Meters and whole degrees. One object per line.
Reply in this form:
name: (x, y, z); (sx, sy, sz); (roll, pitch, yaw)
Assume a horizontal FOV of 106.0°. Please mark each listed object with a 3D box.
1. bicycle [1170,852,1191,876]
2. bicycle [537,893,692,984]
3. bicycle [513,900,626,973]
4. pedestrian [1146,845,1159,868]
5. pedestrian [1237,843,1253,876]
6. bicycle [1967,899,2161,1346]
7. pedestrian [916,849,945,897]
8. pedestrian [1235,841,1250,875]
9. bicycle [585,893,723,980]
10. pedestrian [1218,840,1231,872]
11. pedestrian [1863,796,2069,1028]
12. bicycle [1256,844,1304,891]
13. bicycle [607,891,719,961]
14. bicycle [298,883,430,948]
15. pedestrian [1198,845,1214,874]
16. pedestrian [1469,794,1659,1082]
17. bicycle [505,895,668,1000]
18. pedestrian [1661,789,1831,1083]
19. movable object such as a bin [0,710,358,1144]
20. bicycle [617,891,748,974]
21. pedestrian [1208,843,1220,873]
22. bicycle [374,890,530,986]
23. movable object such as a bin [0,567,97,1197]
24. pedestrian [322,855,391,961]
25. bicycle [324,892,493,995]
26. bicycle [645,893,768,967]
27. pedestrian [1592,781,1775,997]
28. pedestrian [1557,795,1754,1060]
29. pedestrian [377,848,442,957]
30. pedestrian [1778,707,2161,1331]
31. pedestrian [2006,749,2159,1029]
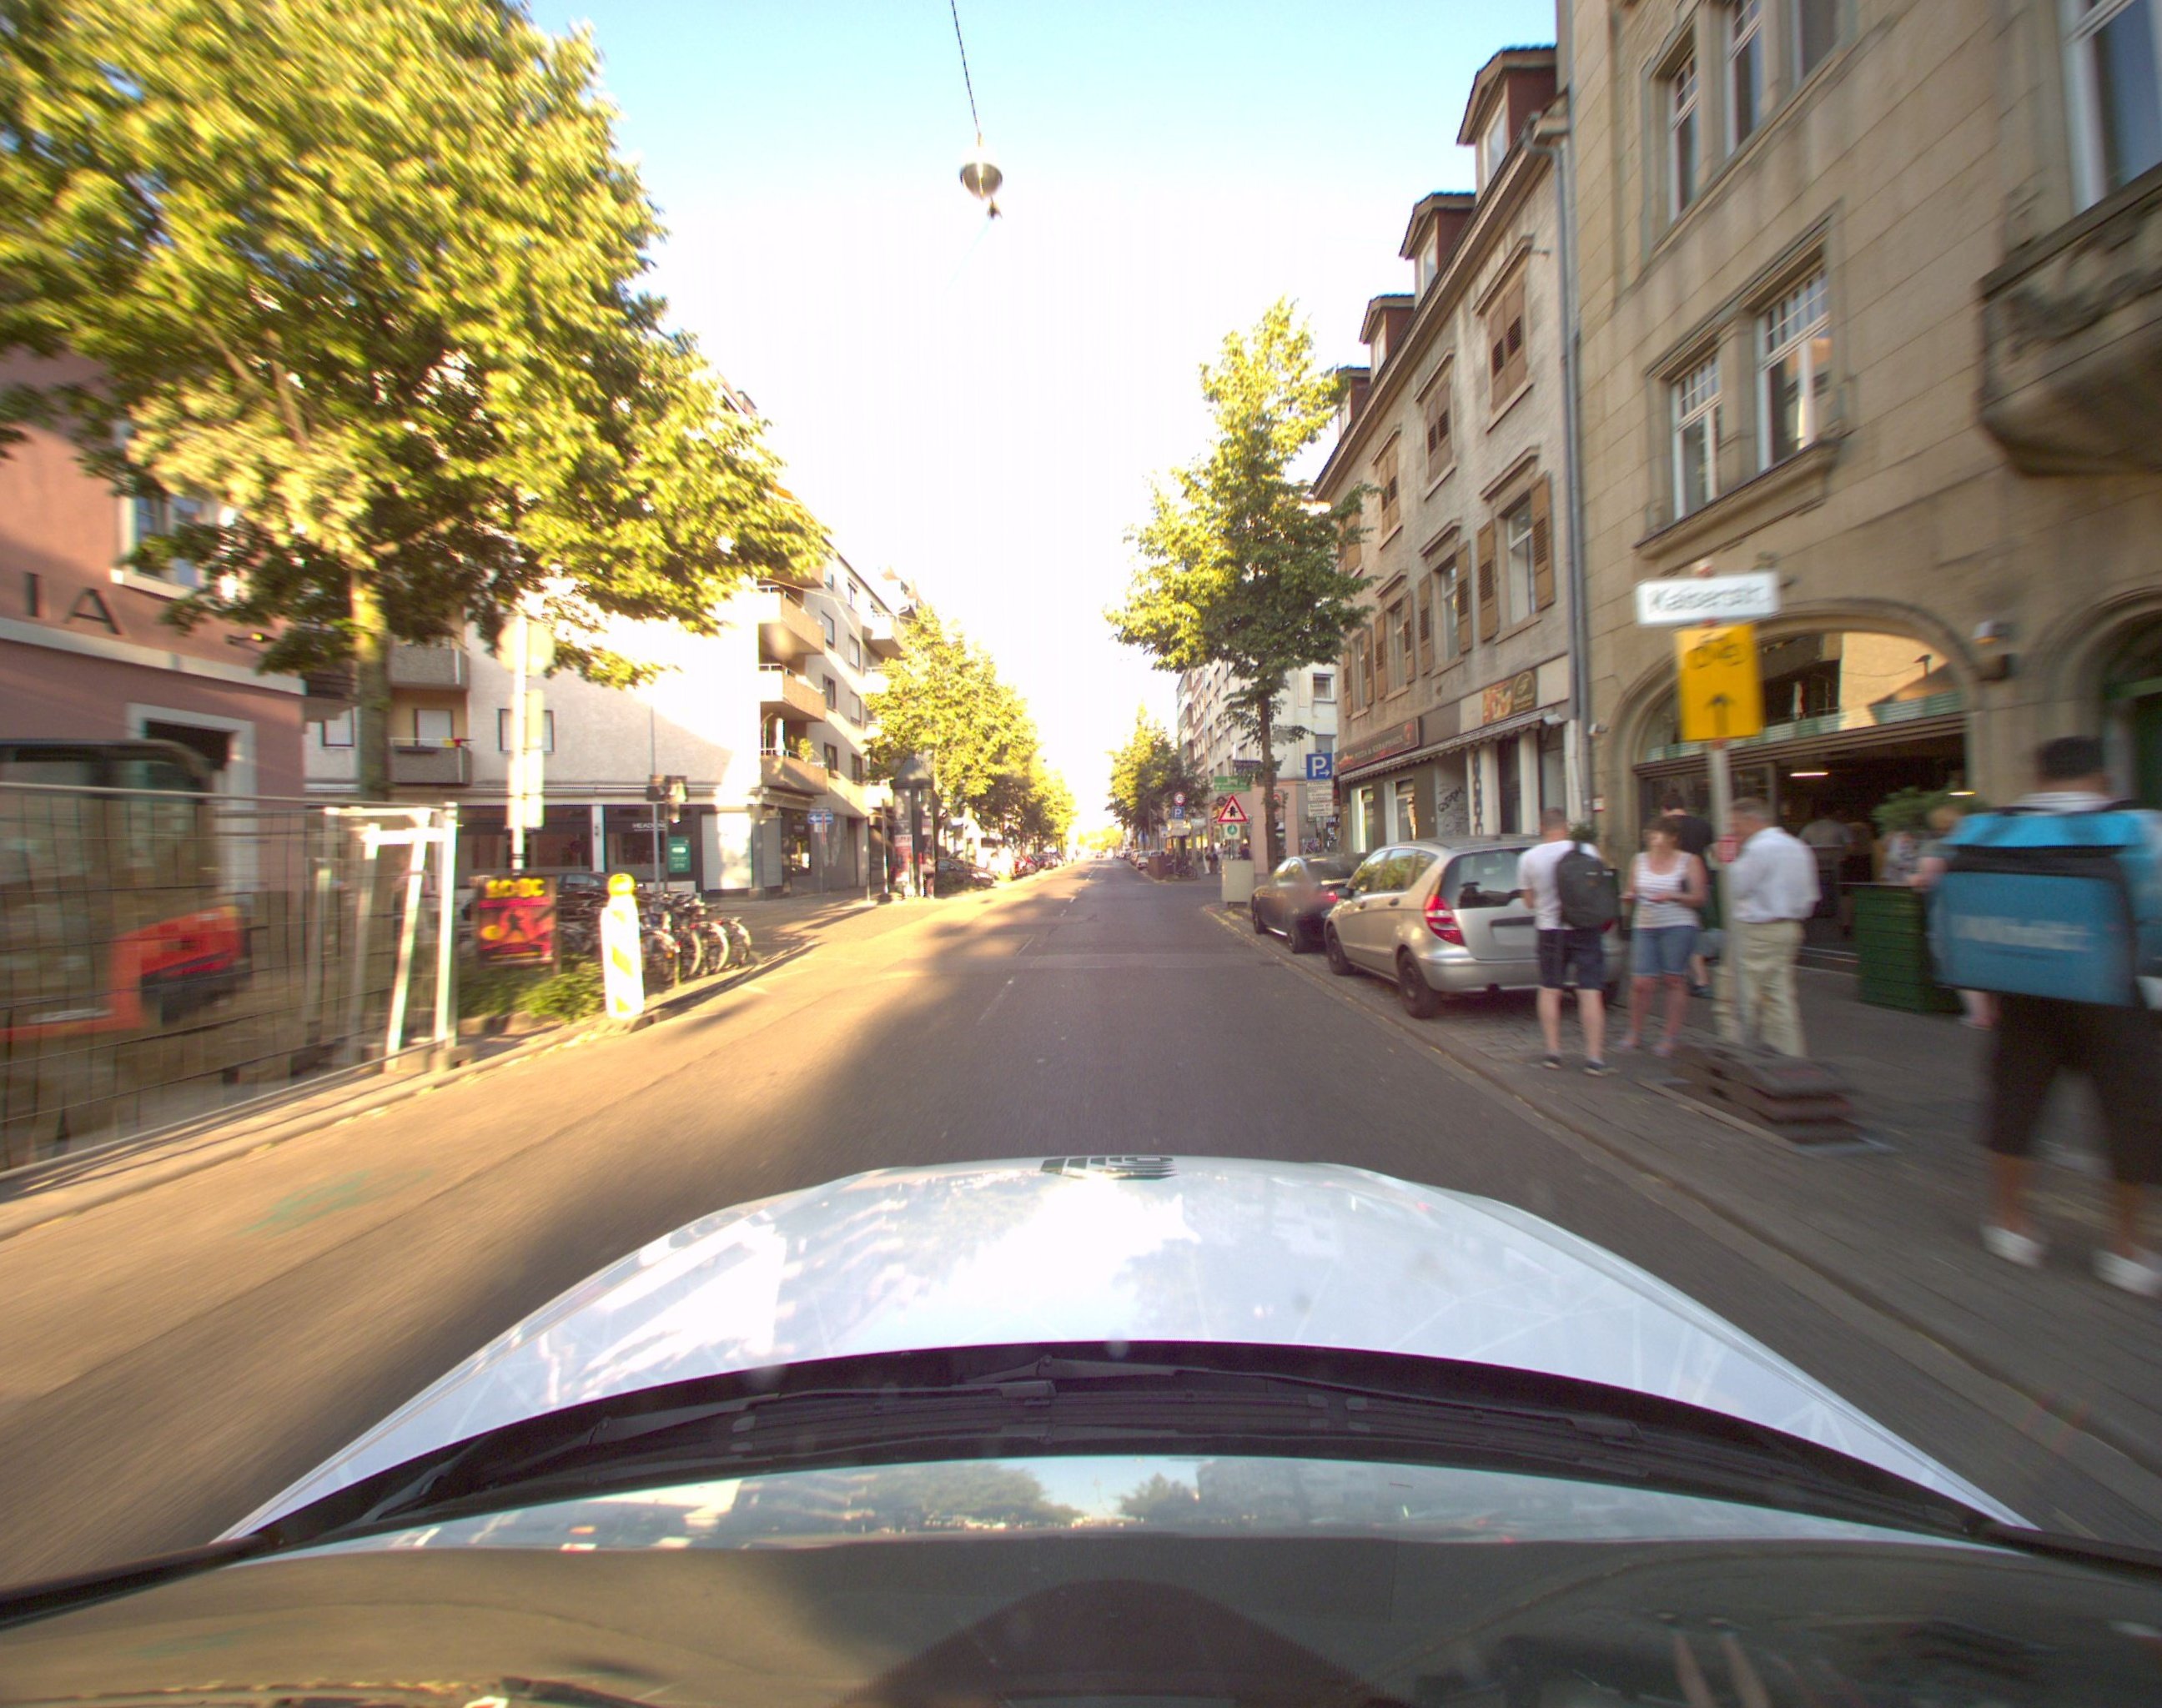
bicycle: (5.116, 0.510, 41.817); (0.593, 1.178, 1.856); (-1, 0, 21)
bicycle: (-5.898, 1.061, 10.329); (1.676, 1.079, 0.444); (1, -1, 1)
bicycle: (-7.142, 1.145, 11.397); (1.318, 0.980, 0.445); (0, -1, 5)
pedestrian: (5.949, 0.219, 67.940); (0.916, 1.926, 1.015); (0, 0, -8)
pedestrian: (7.942, 0.267, 39.452); (0.565, 1.583, 0.664); (-3, 1, 2)
bicycle: (3.925, 0.792, 2.839); (0.856, 1.098, 1.939); (-3, 1, 40)
pedestrian: (-5.380, 0.672, 29.115); (0.706, 1.686, 0.836); (-1, 0, 11)
pedestrian: (7.954, 0.187, 40.216); (0.565, 1.599, 0.664); (-3, 1, 2)
bicycle: (-5.720, 1.083, 10.917); (1.672, 1.079, 0.445); (1, -1, 9)
pedestrian: (8.351, 0.115, 47.267); (0.693, 1.805, 0.894); (-1, 0, 10)
pedestrian: (6.453, 0.400, 5.979); (0.656, 1.562, 0.702); (-4, 0, 2)
bicycle: (5.077, 0.345, 20.901); (0.775, 1.111, 1.900); (-3, -1, 2)
bicycle: (-6.551, 1.121, 12.809); (1.484, 1.059, 0.470); (0, -1, -5)
bicycle: (-14.531, 1.224, 16.575); (1.949, 1.193, 0.580); (-1, -2, -32)
pedestrian: (7.168, 0.302, 46.550); (0.791, 1.625, 0.915); (-1, 0, 14)
pedestrian: (3.199, 0.512, 5.467); (0.677, 1.754, 0.823); (-2, 0, -9)
bicycle: (-5.683, 1.047, 9.433); (1.554, 1.116, 0.440); (2, -1, -31)
pedestrian: (4.221, 0.471, 5.173); (0.657, 1.700, 0.660); (-4, 0, -42)
movable object such as a bin: (-7.992, 0.463, 4.523); (2.285, 2.495, 5.789); (-1, 0, 45)
bicycle: (-5.611, 1.092, 11.493); (1.672, 1.079, 0.445); (1, -1, 9)
pedestrian: (7.696, 0.226, 47.064); (0.627, 1.680, 0.894); (-1, 0, 8)
bicycle: (-7.862, 1.037, 10.201); (1.674, 1.149, 0.445); (0, -1, 5)
movable object such as a bin: (-6.471, 0.163, 1.545); (2.615, 2.969, 5.305); (-1, 0, 2)
pedestrian: (-11.747, 0.859, 13.227); (0.504, 1.650, 0.719); (-1, -2, -8)
bicycle: (-7.858, 1.031, 9.539); (1.674, 1.149, 0.445); (0, -1, 5)
bicycle: (-5.611, 1.125, 12.225); (1.672, 1.021, 0.445); (1, -1, 9)
pedestrian: (5.671, 0.306, 7.747); (0.820, 1.854, 1.097); (-4, 0, 0)
pedestrian: (4.059, 0.479, 5.808); (0.678, 1.706, 0.821); (-4, 0, -13)
pedestrian: (-11.032, 0.789, 13.406); (0.504, 1.737, 0.719); (-1, -2, -8)
pedestrian: (3.331, 0.463, 2.865); (1.013, 1.825, 0.778); (-4, 0, -8)
pedestrian: (7.072, 0.229, 5.764); (0.460, 1.875, 0.499); (-2, 0, -13)
